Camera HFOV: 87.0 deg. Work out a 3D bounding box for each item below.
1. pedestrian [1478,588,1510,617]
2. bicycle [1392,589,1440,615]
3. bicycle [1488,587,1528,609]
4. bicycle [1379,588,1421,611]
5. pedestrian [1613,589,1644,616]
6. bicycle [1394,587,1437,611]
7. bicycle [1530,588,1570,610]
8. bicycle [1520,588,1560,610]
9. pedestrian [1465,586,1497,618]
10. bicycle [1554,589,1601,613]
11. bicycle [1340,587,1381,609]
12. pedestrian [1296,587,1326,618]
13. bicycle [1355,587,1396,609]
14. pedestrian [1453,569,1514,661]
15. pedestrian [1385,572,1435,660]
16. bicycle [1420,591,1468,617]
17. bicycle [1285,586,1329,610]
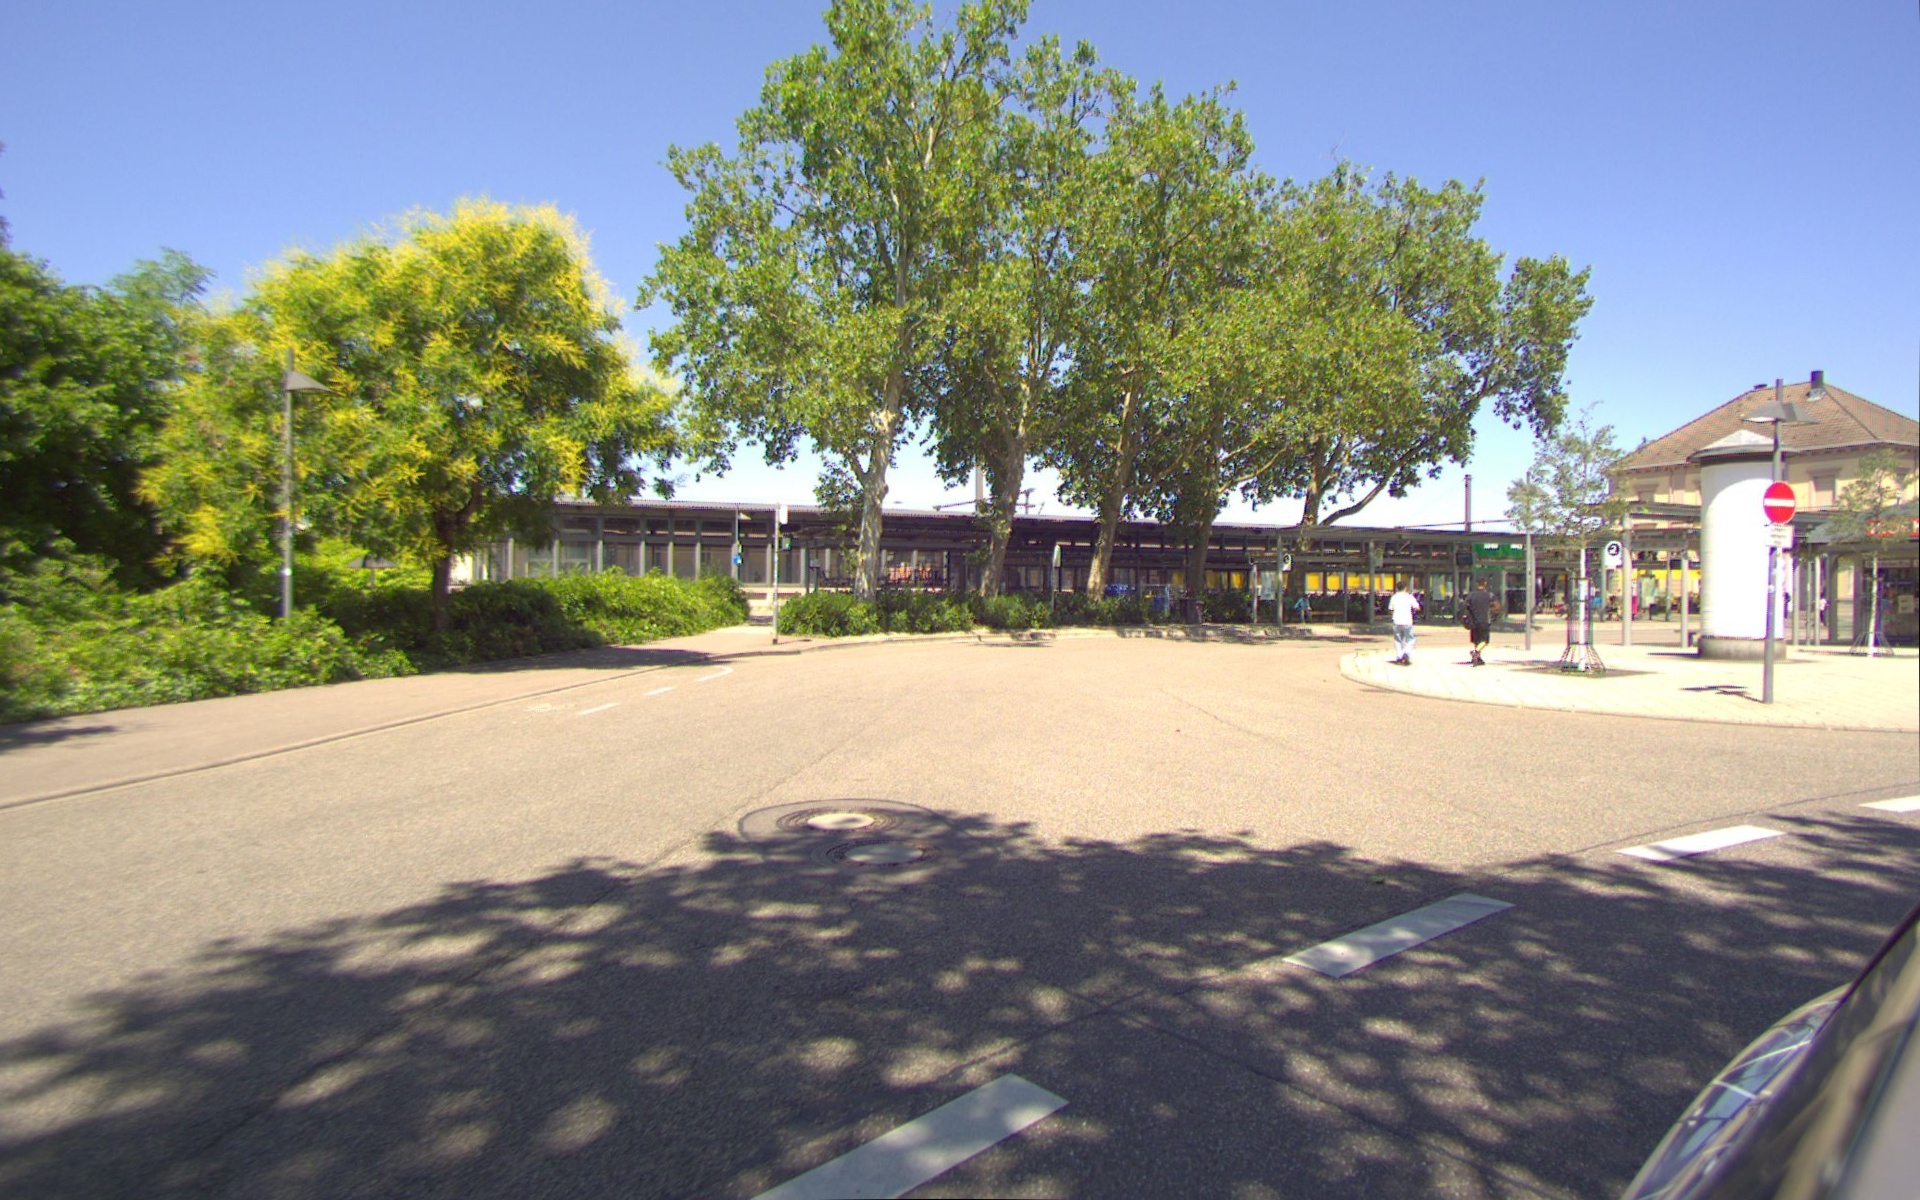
[{"bbox_3d":[24.425,0.115,46.308,0.813,1.321,0.965,0,0,-21],"label":"pedestrian"},{"bbox_3d":[21.517,0.089,47.823,0.657,1.086,2.174,-3,4,-24],"label":"bicycle"},{"bbox_3d":[31.267,-0.116,57.765,0.656,1.086,2.175,-3,4,-18],"label":"bicycle"},{"bbox_3d":[23.019,-0.026,52.910,2.124,1.086,0.672,-3,3,-19],"label":"bicycle"},{"bbox_3d":[32.828,0.128,49.725,0.813,1.321,0.965,0,0,-21],"label":"pedestrian"},{"bbox_3d":[23.346,-0.039,51.890,2.124,1.086,0.672,-3,3,-19],"label":"bicycle"},{"bbox_3d":[32.505,-0.056,55.750,2.124,1.086,0.672,-3,3,-19],"label":"bicycle"},{"bbox_3d":[32.346,-0.084,56.453,2.124,1.086,0.672,-3,3,-19],"label":"bicycle"},{"bbox_3d":[23.630,0.077,45.924,0.813,1.403,0.965,0,0,-21],"label":"pedestrian"},{"bbox_3d":[32.034,0.054,52.505,0.656,1.086,2.175,-3,4,-18],"label":"bicycle"},{"bbox_3d":[22.020,-0.120,55.625,2.124,1.086,0.672,-3,3,-19],"label":"bicycle"},{"bbox_3d":[14.619,0.090,42.195,0.850,1.291,0.832,0,0,-26],"label":"pedestrian"},{"bbox_3d":[22.389,-0.112,54.483,2.124,1.086,0.672,-3,3,-19],"label":"bicycle"},{"bbox_3d":[10.406,0.287,20.145,0.900,1.807,0.693,0,0,11],"label":"pedestrian"},{"bbox_3d":[9.184,0.321,20.699,0.904,1.758,0.670,0,0,23],"label":"pedestrian"},{"bbox_3d":[23.150,0.164,48.434,0.657,1.086,2.174,-3,4,-24],"label":"bicycle"},{"bbox_3d":[17.834,-0.099,51.978,2.124,1.086,0.672,-3,3,-18],"label":"bicycle"}]
